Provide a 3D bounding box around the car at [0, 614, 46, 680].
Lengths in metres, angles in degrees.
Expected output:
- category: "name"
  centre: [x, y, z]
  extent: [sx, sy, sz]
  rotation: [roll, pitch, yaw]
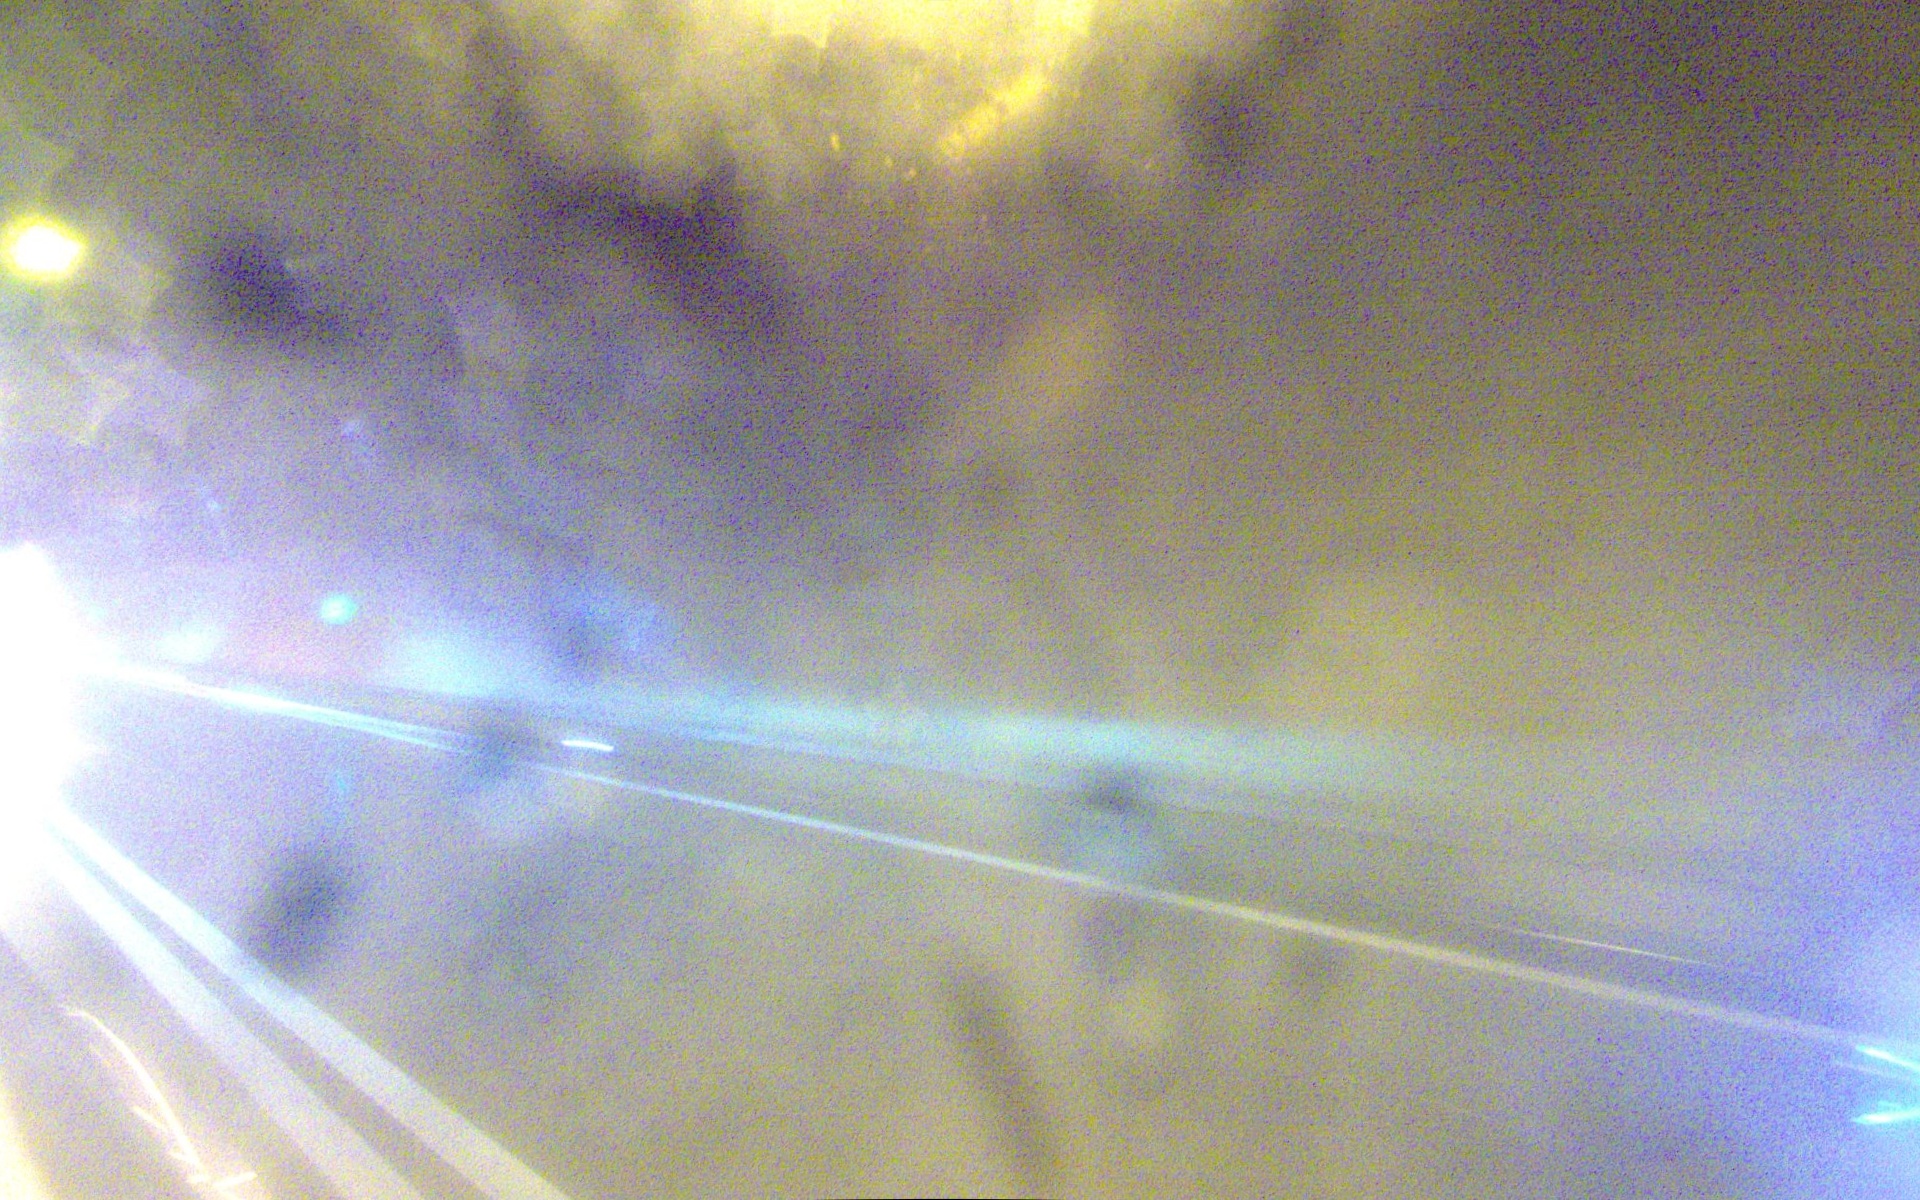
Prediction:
- category: "car"
  centre: [-23.428, 1.110, 24.371]
  extent: [3.961, 1.501, 1.643]
  rotation: [-1, 0, 41]
